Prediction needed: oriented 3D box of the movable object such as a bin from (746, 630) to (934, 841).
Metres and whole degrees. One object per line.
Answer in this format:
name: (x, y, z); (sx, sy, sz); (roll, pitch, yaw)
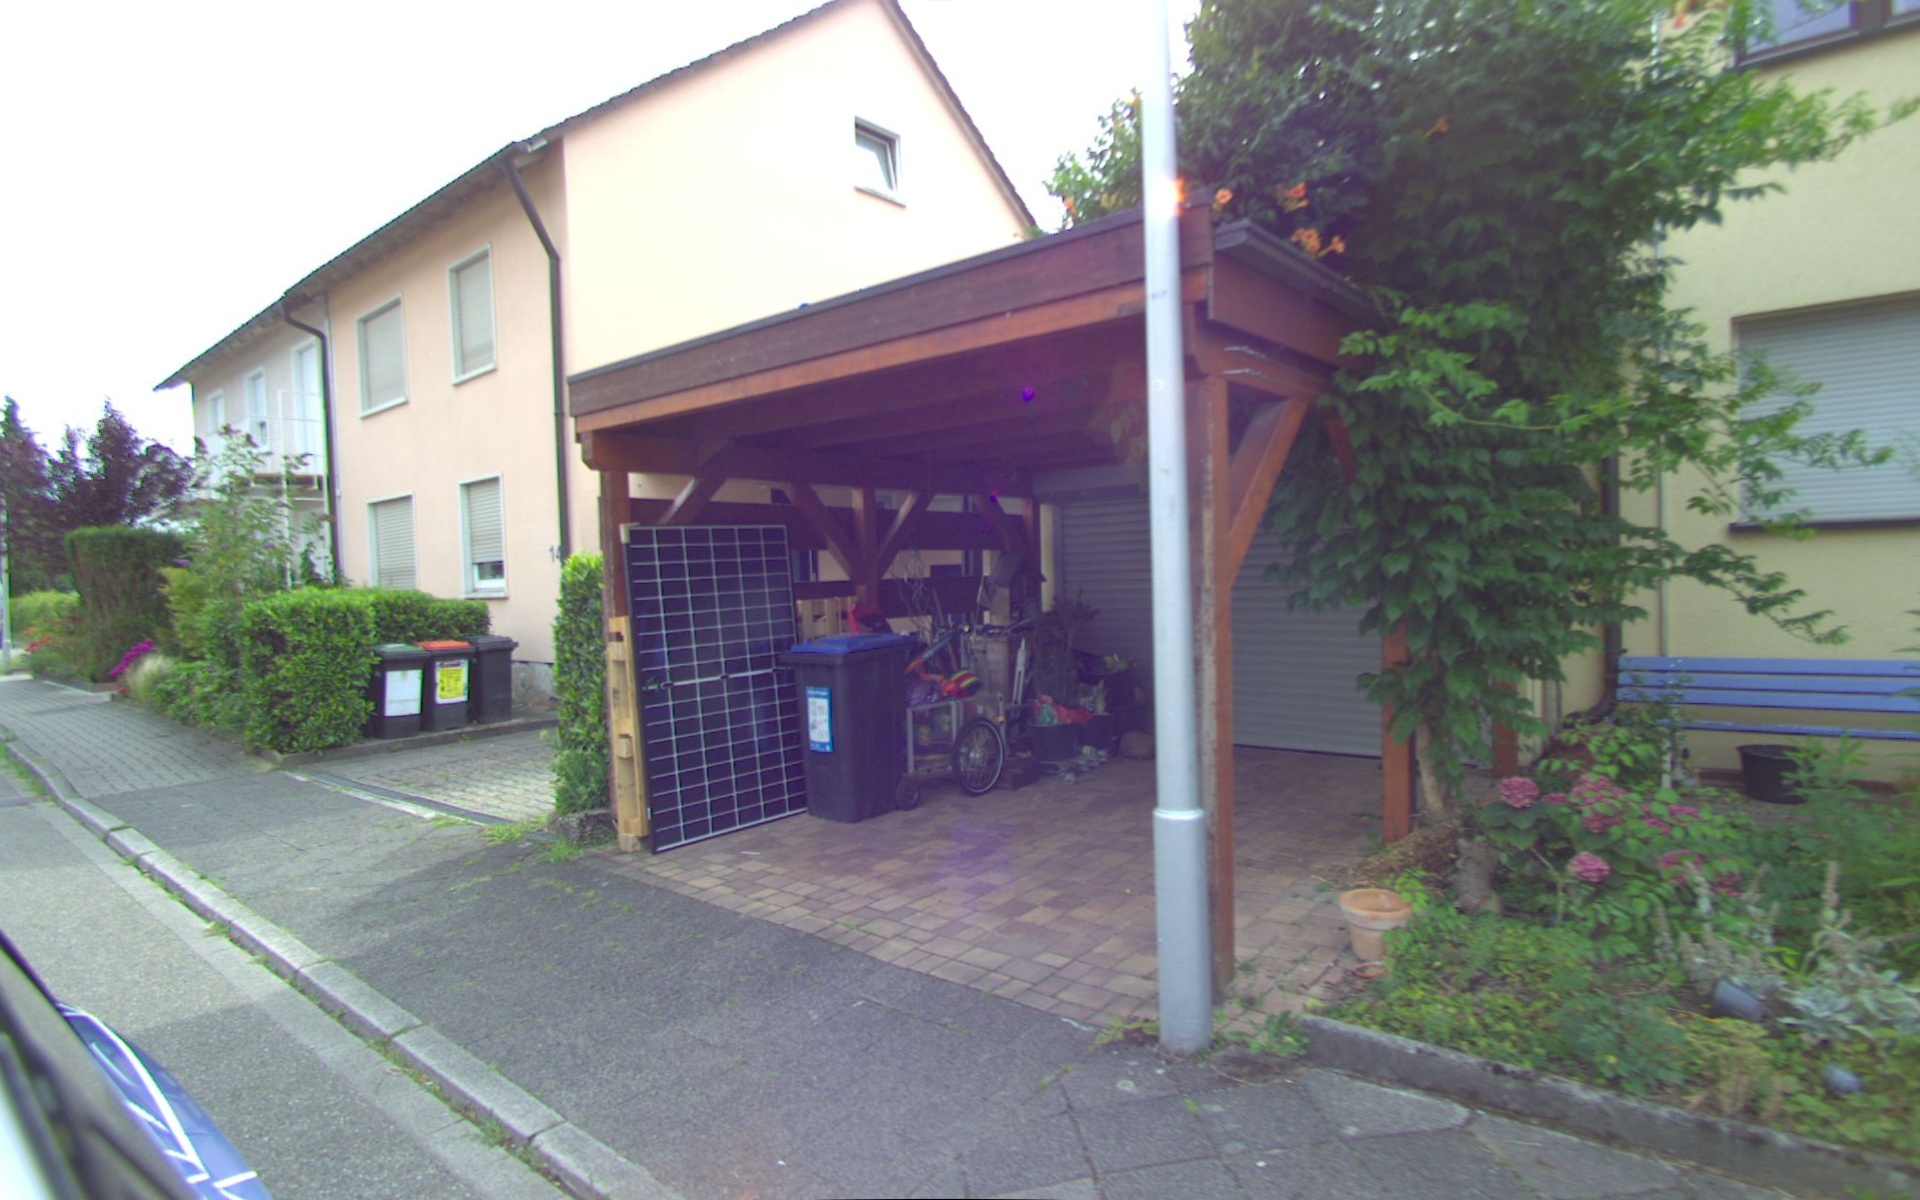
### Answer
movable object such as a bin: (-0.703, 0.739, 5.923); (0.822, 1.079, 0.696); (-1, 1, 41)

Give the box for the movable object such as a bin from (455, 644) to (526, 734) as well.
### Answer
movable object such as a bin: (-5.079, 0.949, 10.945); (0.583, 0.910, 0.475); (-1, 0, 41)

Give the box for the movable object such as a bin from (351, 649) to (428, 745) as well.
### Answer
movable object such as a bin: (-5.689, 0.948, 10.089); (0.530, 0.888, 0.490); (-2, 1, 41)

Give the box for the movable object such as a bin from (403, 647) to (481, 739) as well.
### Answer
movable object such as a bin: (-5.393, 0.950, 10.541); (0.534, 0.886, 0.532); (-2, 1, 41)

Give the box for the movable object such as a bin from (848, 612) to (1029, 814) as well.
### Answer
movable object such as a bin: (-0.138, 0.668, 6.432); (0.877, 1.138, 0.697); (-1, 2, 41)

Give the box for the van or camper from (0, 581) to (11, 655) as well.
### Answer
van or camper: (-38.502, 0.760, 38.977); (5.746, 2.755, 2.316); (-1, 1, 42)
